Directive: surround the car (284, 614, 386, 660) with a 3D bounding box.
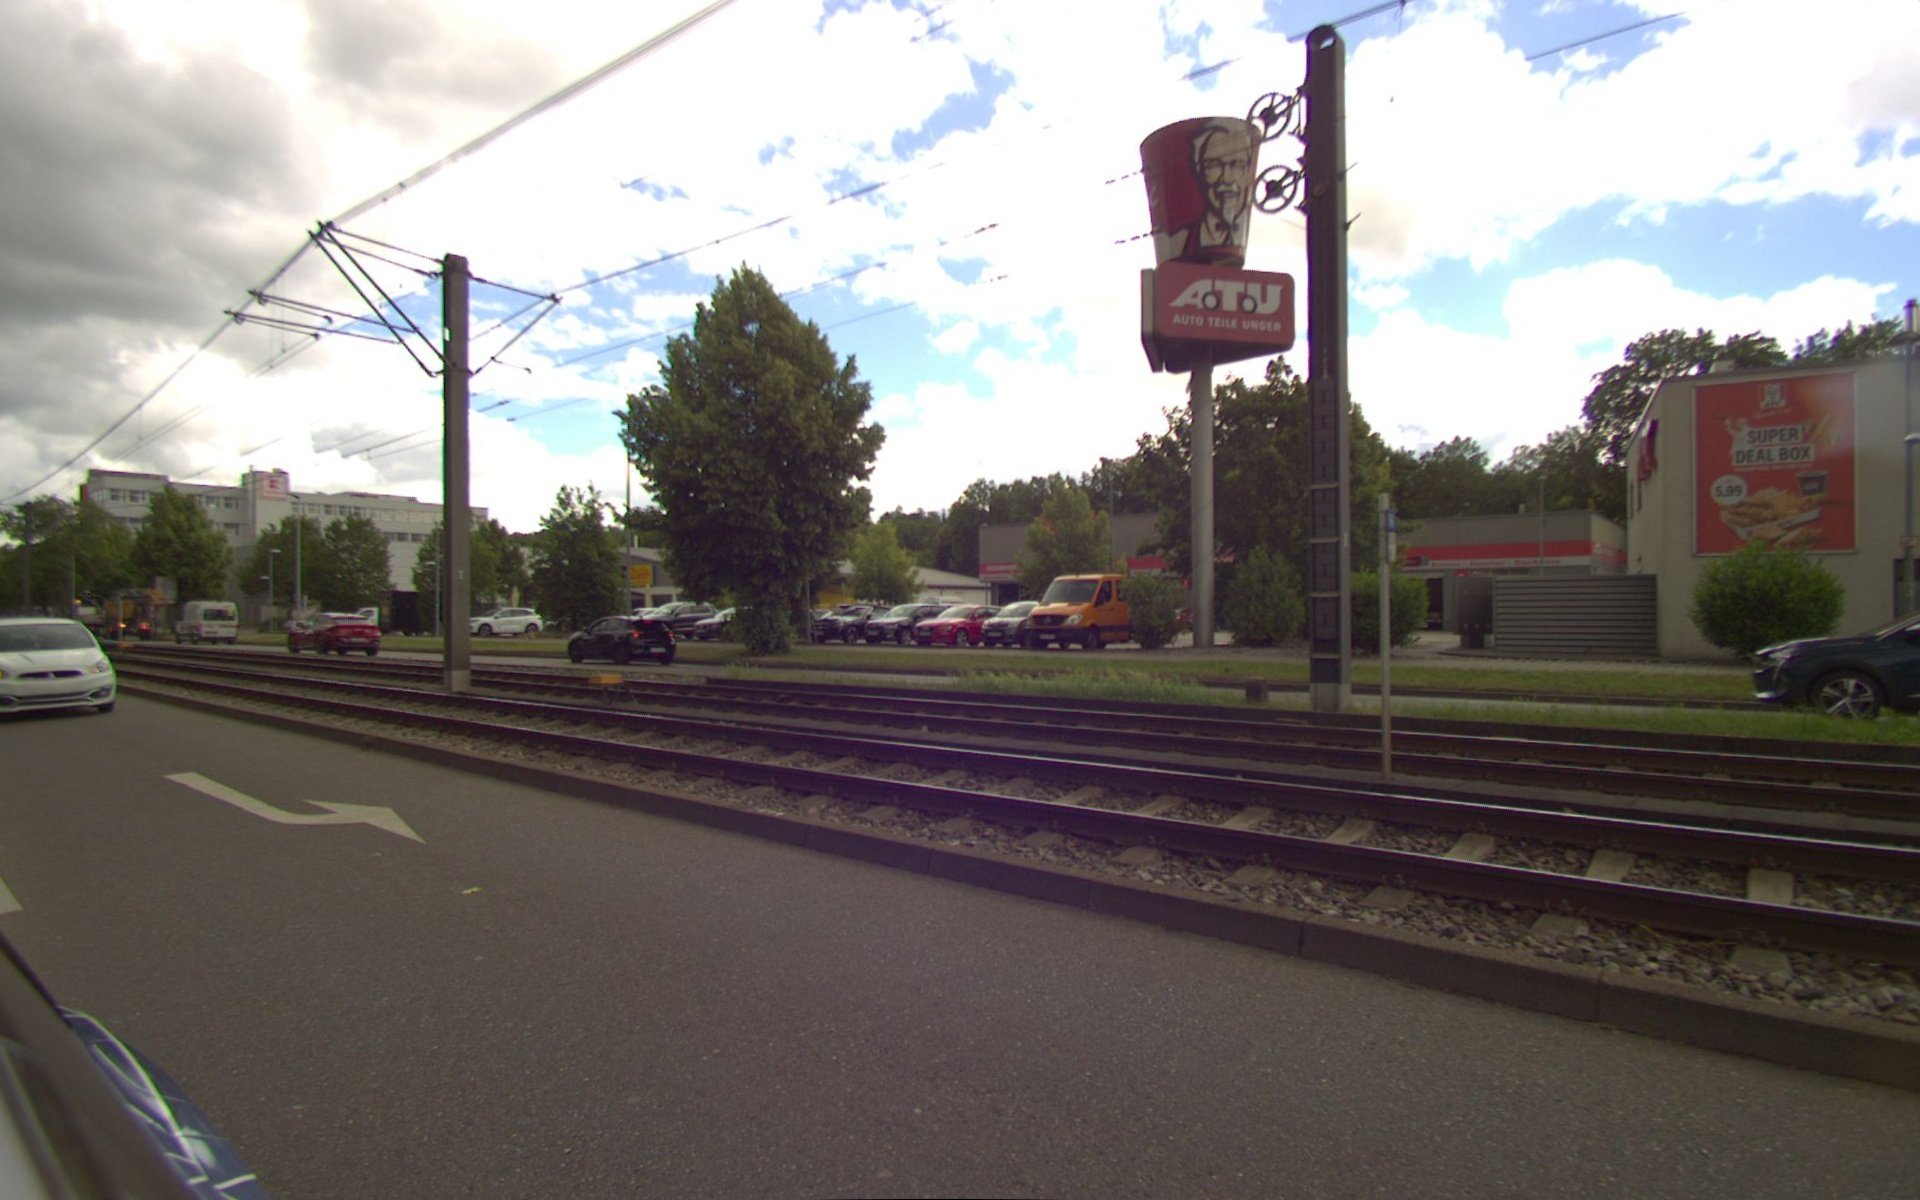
[{"bbox_3d":[-22.995,1.360,37.194,4.477,1.594,1.765,-1,-3,39],"label":"car"}]

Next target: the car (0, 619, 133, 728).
[{"bbox_3d":[-14.609,1.076,15.842,3.995,1.454,1.764,-1,1,39],"label":"car"}]

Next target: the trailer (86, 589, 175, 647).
[{"bbox_3d":[-61.340,1.373,74.631,14.418,3.927,2.643,-1,-3,41],"label":"trailer"}]

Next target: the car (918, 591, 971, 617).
[{"bbox_3d":[-1.080,0.265,71.288,1.721,1.634,3.693,-1,1,38],"label":"car"}]

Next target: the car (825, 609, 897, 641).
[{"bbox_3d":[-5.185,1.308,53.461,1.700,1.660,3.692,-1,-2,38],"label":"car"}]

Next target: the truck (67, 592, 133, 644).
[{"bbox_3d":[-69.966,1.529,82.256,8.627,3.997,2.861,-2,-2,42],"label":"truck"}]

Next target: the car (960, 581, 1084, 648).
[{"bbox_3d":[2.068,0.417,32.759,1.999,1.932,3.947,-1,1,40],"label":"car"}]

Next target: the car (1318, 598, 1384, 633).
[{"bbox_3d":[20.486,0.773,52.960,1.999,1.605,3.947,-1,1,40],"label":"car"}]

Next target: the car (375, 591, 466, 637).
[{"bbox_3d":[-33.373,0.893,62.643,2.287,2.769,4.424,-1,-2,40],"label":"car"}]

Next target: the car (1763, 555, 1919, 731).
[{"bbox_3d":[12.305,0.492,12.004,4.240,2.029,1.975,-1,-1,37],"label":"car"}]

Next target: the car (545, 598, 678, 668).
[{"bbox_3d":[-10.769,1.024,31.181,3.993,2.029,1.975,-1,-3,37],"label":"car"}]

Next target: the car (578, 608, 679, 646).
[{"bbox_3d":[-15.323,1.206,46.880,2.001,1.518,3.947,-1,1,40],"label":"car"}]

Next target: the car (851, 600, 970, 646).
[{"bbox_3d":[-1.709,0.793,36.061,2.092,1.377,3.947,-1,1,40],"label":"car"}]

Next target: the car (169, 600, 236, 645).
[{"bbox_3d":[-45.030,1.365,60.100,5.994,2.518,1.850,-1,-3,40],"label":"car"}]

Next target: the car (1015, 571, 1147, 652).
[{"bbox_3d":[3.669,0.287,30.313,2.057,2.182,3.947,-1,1,40],"label":"car"}]

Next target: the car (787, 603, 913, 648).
[{"bbox_3d":[-4.016,0.908,37.511,2.194,1.364,4.329,-1,1,40],"label":"car"}]

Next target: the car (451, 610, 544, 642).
[{"bbox_3d":[-26.002,1.430,57.017,1.793,1.518,4.428,-1,1,37],"label":"car"}]

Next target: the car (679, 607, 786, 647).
[{"bbox_3d":[-9.471,1.108,42.316,1.936,1.431,3.947,-1,1,40],"label":"car"}]

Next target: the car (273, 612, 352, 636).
[{"bbox_3d":[-47.862,1.726,74.875,2.001,1.503,4.550,-1,1,44],"label":"car"}]

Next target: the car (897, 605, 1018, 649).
[{"bbox_3d":[-0.028,0.878,34.037,1.999,1.245,3.947,-1,1,40],"label":"car"}]

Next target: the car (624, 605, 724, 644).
[{"bbox_3d":[-12.893,1.090,45.776,1.936,1.518,3.947,-1,1,40],"label":"car"}]

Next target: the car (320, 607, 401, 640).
[{"bbox_3d":[-40.657,1.560,68.681,2.001,1.933,4.297,-1,1,44],"label":"car"}]
